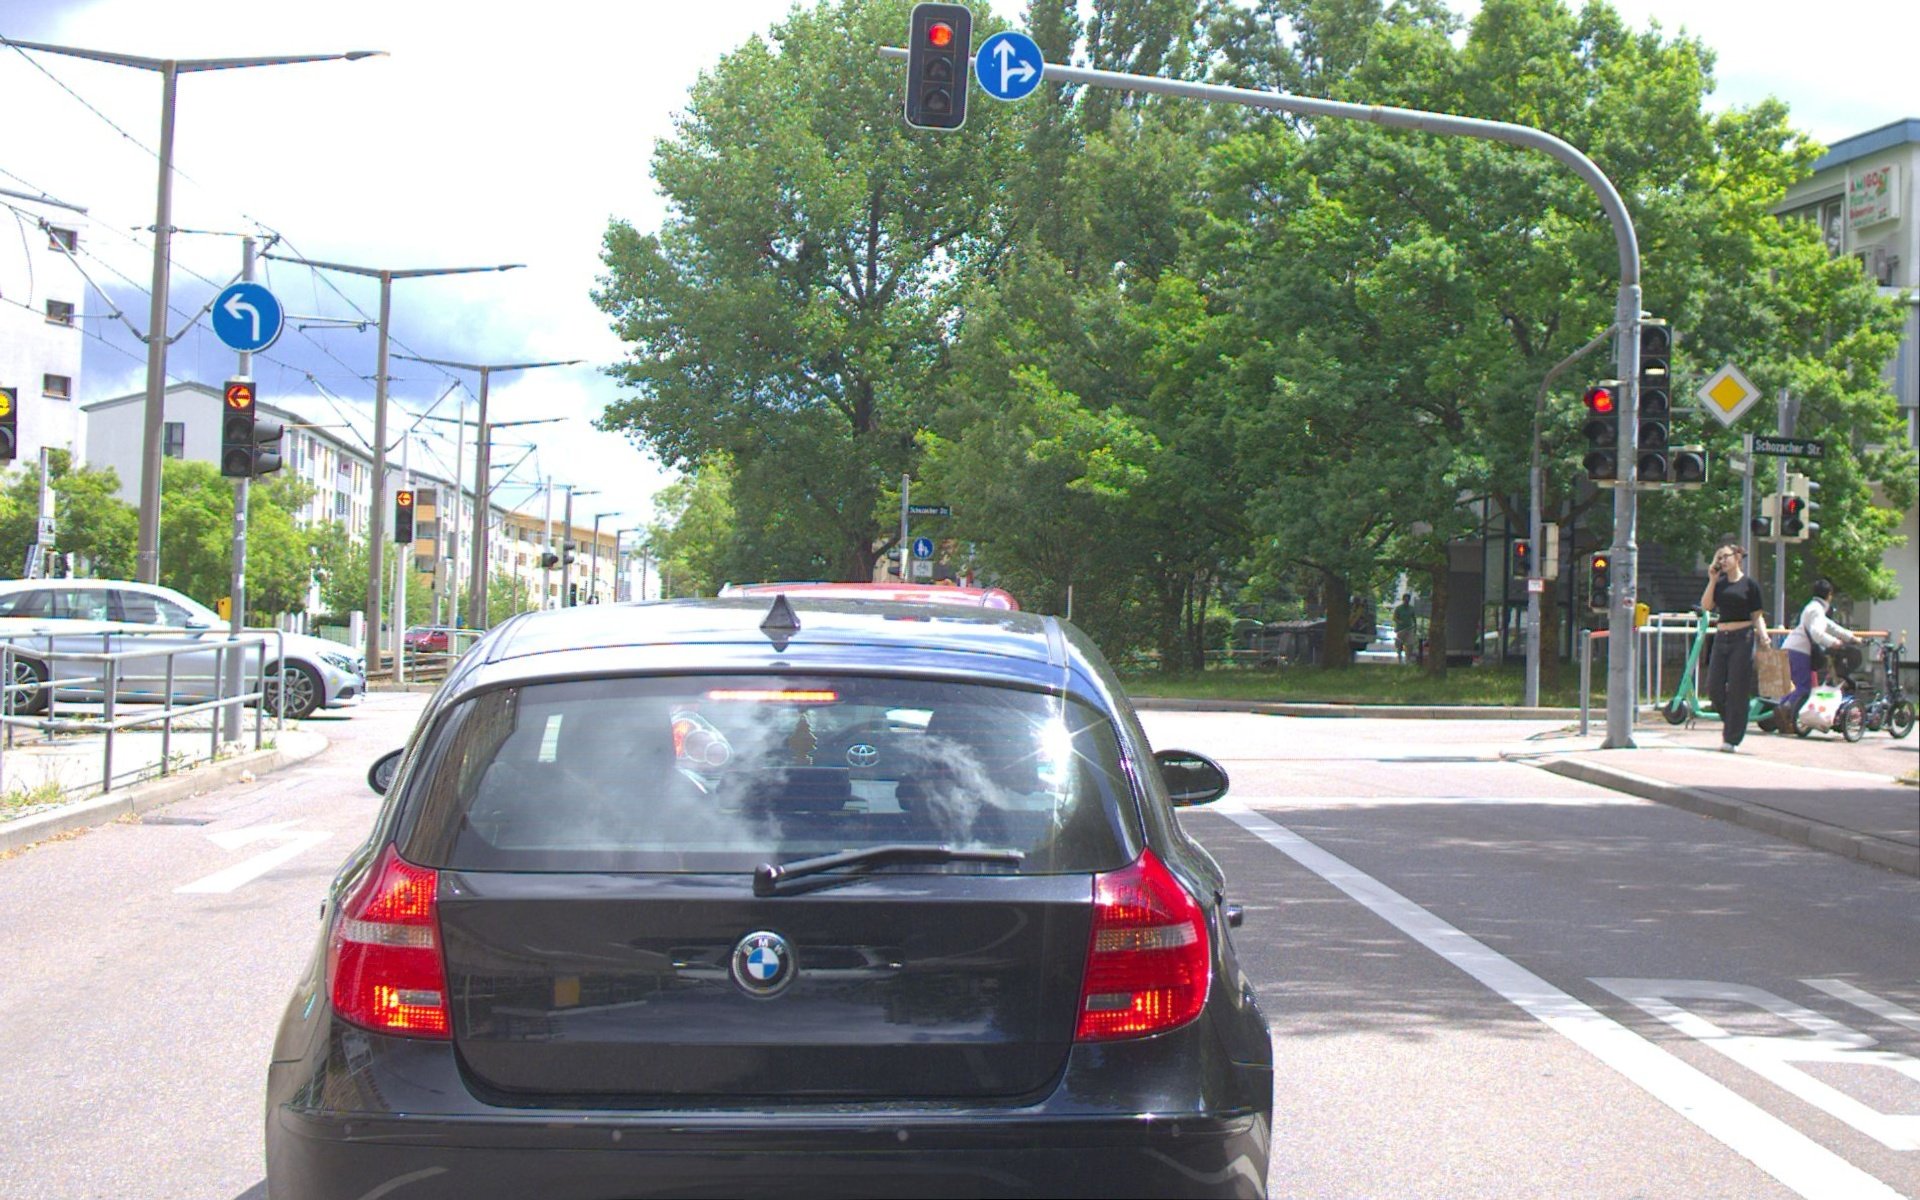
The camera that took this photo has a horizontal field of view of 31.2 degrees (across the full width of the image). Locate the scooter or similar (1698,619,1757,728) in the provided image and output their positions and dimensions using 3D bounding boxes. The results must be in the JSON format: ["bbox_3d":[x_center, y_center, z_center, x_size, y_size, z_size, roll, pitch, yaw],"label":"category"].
[{"bbox_3d":[7.797,0.737,34.902,0.548,1.060,1.261,1,0,13],"label":"scooter or similar"}]

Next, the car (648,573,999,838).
[{"bbox_3d":[-0.773,0.562,21.104,1.900,1.417,4.539,1,0,-1],"label":"car"}]

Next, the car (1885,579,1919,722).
[{"bbox_3d":[15.639,0.687,48.576,4.534,2.007,2.000,-1,0,-8],"label":"car"}]

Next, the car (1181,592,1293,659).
[{"bbox_3d":[7.276,0.657,90.686,1.862,1.656,4.001,1,0,-11],"label":"car"}]

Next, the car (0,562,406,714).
[{"bbox_3d":[-8.441,0.393,37.121,4.789,1.517,2.000,1,0,-8],"label":"car"}]

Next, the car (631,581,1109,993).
[{"bbox_3d":[-0.331,0.641,13.634,1.638,1.395,3.420,1,0,-1],"label":"car"}]

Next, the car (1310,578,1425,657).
[{"bbox_3d":[9.974,0.402,84.354,1.726,1.865,4.001,1,0,-9],"label":"car"}]

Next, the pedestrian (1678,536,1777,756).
[{"bbox_3d":[6.614,0.393,29.623,0.636,1.870,0.518,1,0,-42],"label":"pedestrian"}]

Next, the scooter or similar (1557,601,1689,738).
[{"bbox_3d":[6.111,0.639,31.713,1.110,1.231,0.539,1,0,2],"label":"scooter or similar"}]

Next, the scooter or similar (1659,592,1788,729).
[{"bbox_3d":[7.313,0.574,32.948,1.151,1.268,0.555,1,0,9],"label":"scooter or similar"}]

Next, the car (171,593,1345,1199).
[{"bbox_3d":[-0.318,0.708,6.731,1.700,1.395,3.420,1,0,-1],"label":"car"}]
